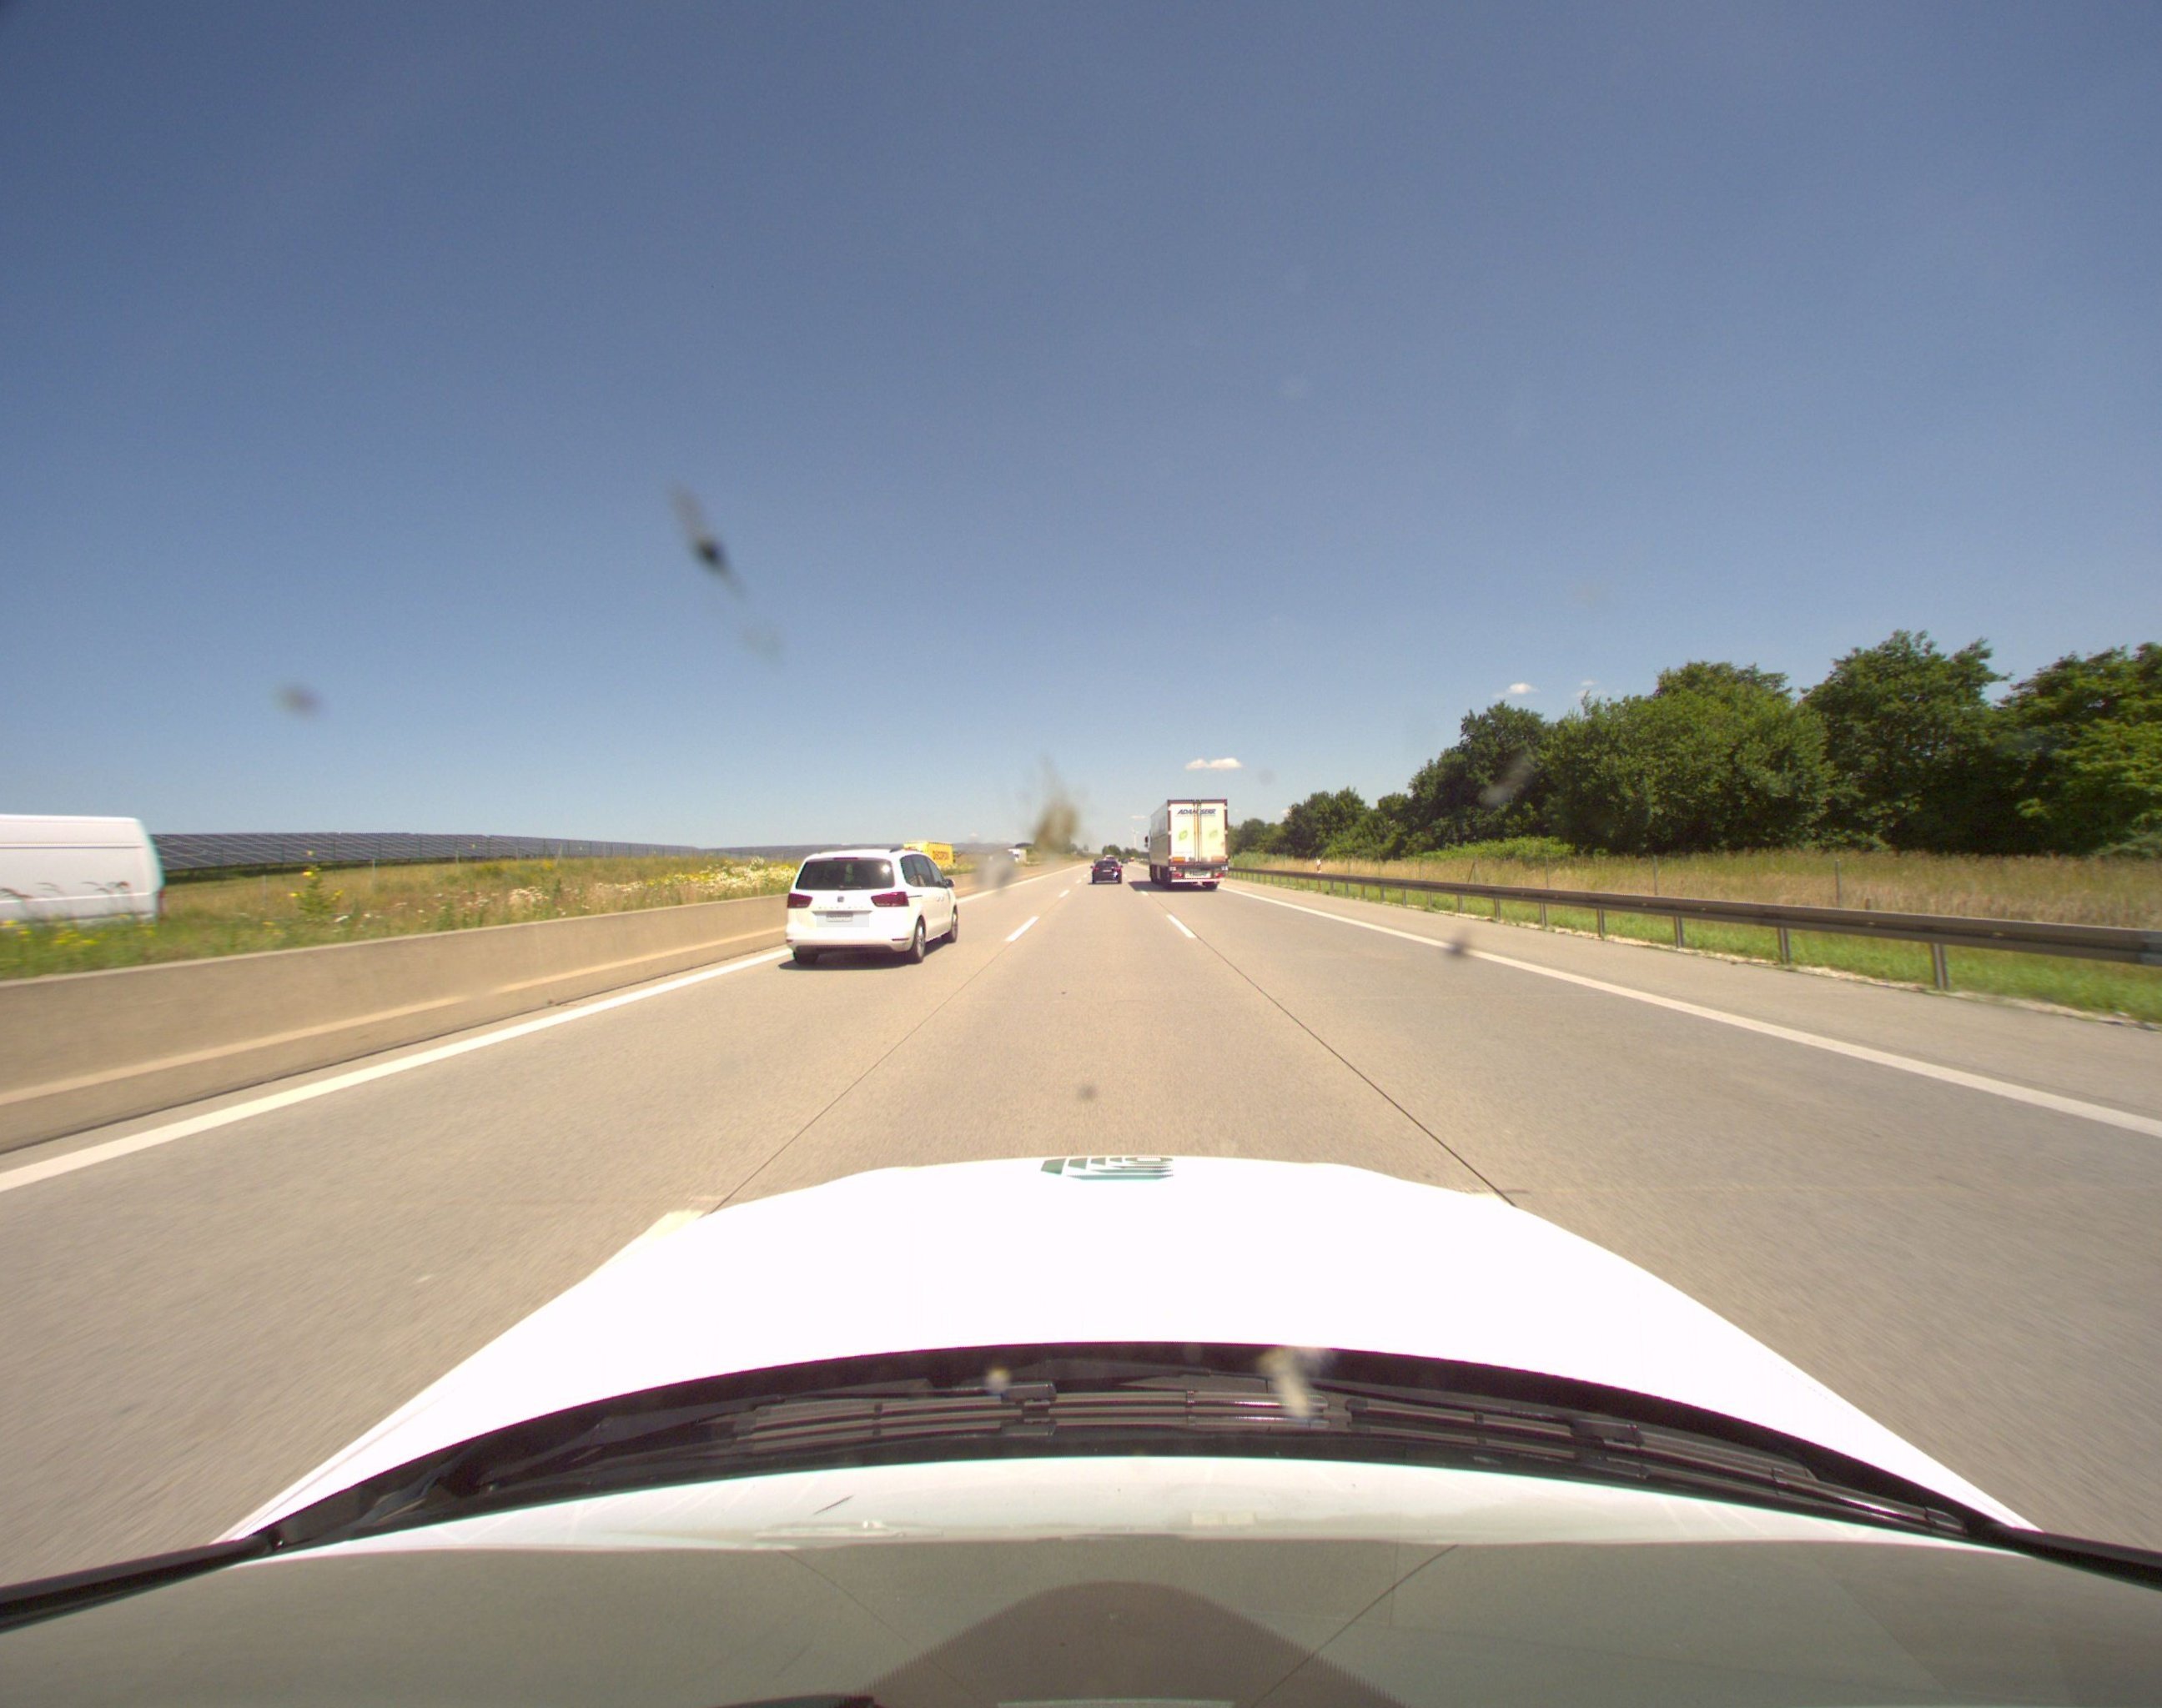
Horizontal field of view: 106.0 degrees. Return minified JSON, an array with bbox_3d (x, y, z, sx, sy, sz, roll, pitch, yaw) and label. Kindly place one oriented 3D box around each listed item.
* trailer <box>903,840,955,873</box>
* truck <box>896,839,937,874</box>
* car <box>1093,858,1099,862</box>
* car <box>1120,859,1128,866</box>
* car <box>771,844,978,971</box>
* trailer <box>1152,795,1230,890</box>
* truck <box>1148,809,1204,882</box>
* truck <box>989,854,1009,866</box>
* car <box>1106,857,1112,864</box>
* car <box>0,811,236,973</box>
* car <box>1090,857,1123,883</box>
[{"bbox_3d":[-17.490,0.401,95.007,2.920,3.551,14.026,0,-1,2],"label":"trailer"},{"bbox_3d":[-17.790,0.304,88.435,2.911,3.540,6.350,-1,-1,2],"label":"truck"},{"bbox_3d":[4.272,1.750,234.005,1.649,1.196,3.961,2,0,2],"label":"car"},{"bbox_3d":[11.675,2.235,221.211,1.820,1.907,4.001,-1,-1,2],"label":"car"},{"bbox_3d":[-3.179,0.760,14.025,1.838,1.708,6.038,0,-1,2],"label":"car"},{"bbox_3d":[5.299,-0.452,41.511,2.841,4.042,12.720,0,0,3],"label":"trailer"},{"bbox_3d":[5.593,-0.468,48.864,2.801,4.088,5.800,0,-1,2],"label":"truck"},{"bbox_3d":[-14.616,1.090,146.052,2.507,2.014,7.632,0,-1,2],"label":"truck"},{"bbox_3d":[8.456,2.023,249.997,1.820,1.937,3.810,-1,-1,2],"label":"car"},{"bbox_3d":[-14.580,0.470,9.759,2.176,2.014,6.348,0,-1,1],"label":"car"},{"bbox_3d":[1.501,0.912,48.823,1.904,1.492,4.192,0,0,0],"label":"car"}]
